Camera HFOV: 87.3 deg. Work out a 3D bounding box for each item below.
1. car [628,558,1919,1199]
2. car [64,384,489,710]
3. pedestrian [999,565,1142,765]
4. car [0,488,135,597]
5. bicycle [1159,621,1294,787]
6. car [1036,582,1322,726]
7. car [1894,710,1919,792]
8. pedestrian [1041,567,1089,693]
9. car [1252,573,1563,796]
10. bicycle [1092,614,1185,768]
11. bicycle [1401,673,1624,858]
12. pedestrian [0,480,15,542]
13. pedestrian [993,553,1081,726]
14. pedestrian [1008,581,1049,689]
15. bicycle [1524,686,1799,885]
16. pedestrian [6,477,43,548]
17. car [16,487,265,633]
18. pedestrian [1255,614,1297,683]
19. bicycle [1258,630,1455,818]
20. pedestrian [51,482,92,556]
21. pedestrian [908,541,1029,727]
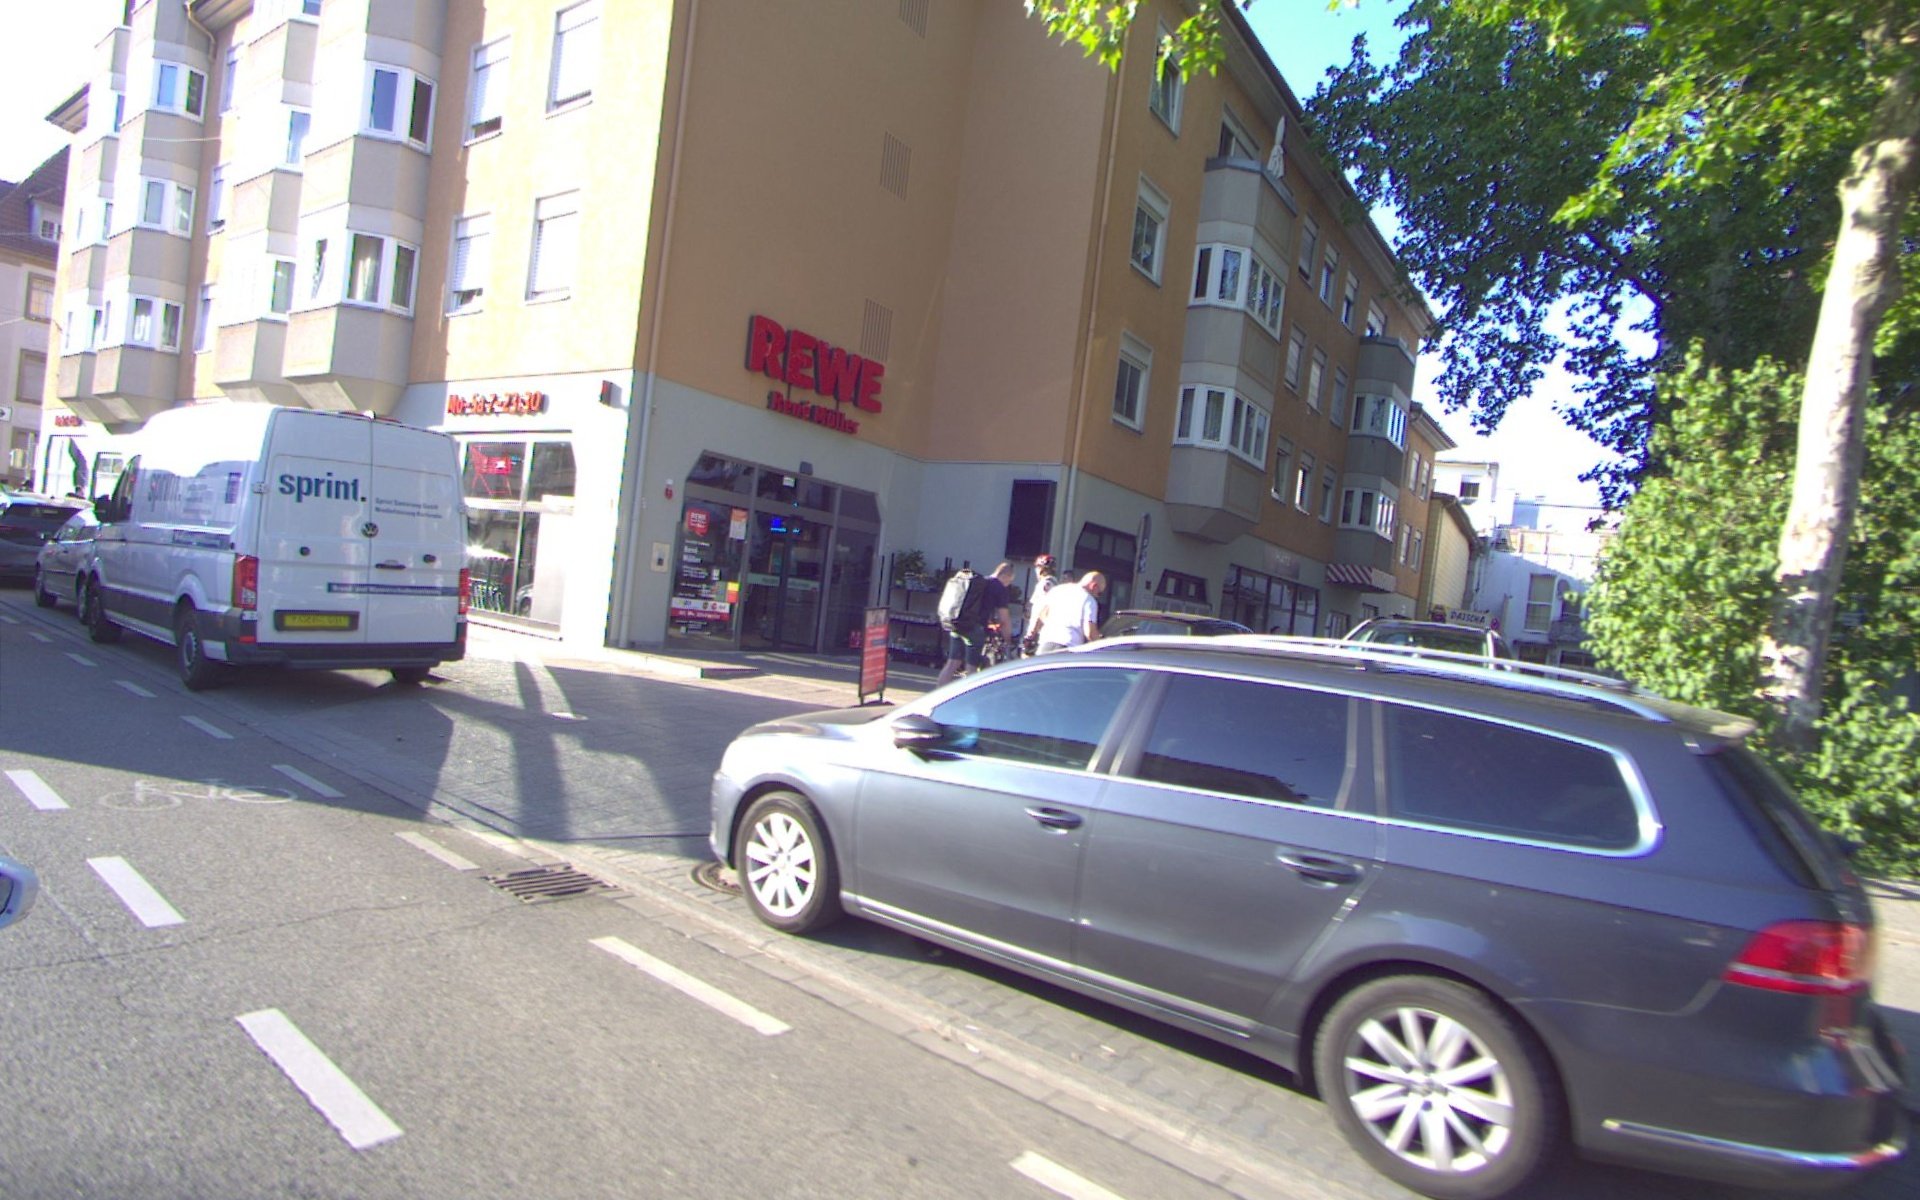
[{"bbox_3d":[0.757,0.797,4.263,4.580,1.551,1.695,6,3,36],"label":"car"},{"bbox_3d":[-7.366,-0.635,10.516,5.698,2.586,2.013,6,4,38],"label":"car"},{"bbox_3d":[1.015,0.563,9.252,0.973,1.659,0.659,8,5,31],"label":"pedestrian"},{"bbox_3d":[-16.053,-1.075,17.409,4.167,1.556,1.837,7,0,38],"label":"car"},{"bbox_3d":[2.298,0.854,8.870,0.639,1.242,1.582,6,0,0],"label":"bicycle"},{"bbox_3d":[2.897,0.697,12.622,1.970,1.449,4.013,3,-2,37],"label":"car"},{"bbox_3d":[20.119,3.103,19.840,1.970,1.553,4.047,7,0,38],"label":"car"},{"bbox_3d":[1.646,0.463,15.867,0.465,1.905,0.575,6,1,-3],"label":"pedestrian"},{"bbox_3d":[5.028,0.983,10.861,1.969,1.727,4.623,7,-3,37],"label":"car"},{"bbox_3d":[1.606,0.780,9.252,0.396,1.242,1.520,6,0,-2],"label":"bicycle"},{"bbox_3d":[3.925,1.133,7.308,0.639,1.026,1.582,6,0,0],"label":"bicycle"},{"bbox_3d":[-28.660,-2.665,29.994,0.543,1.807,0.445,6,1,-35],"label":"pedestrian"},{"bbox_3d":[0.851,0.424,11.102,0.639,1.807,0.527,8,5,30],"label":"pedestrian"},{"bbox_3d":[1.067,0.536,15.559,0.413,1.587,0.639,6,1,8],"label":"pedestrian"},{"bbox_3d":[4.793,1.214,7.038,0.639,1.026,1.679,6,0,0],"label":"bicycle"},{"bbox_3d":[-24.910,-2.337,26.791,0.443,1.807,0.546,7,1,38],"label":"pedestrian"},{"bbox_3d":[-11.444,-0.582,13.977,3.729,1.608,1.837,7,0,38],"label":"car"},{"bbox_3d":[7.548,1.164,24.027,0.587,1.561,0.742,7,1,35],"label":"pedestrian"},{"bbox_3d":[3.099,0.925,8.045,0.636,1.242,1.580,6,0,-9],"label":"bicycle"},{"bbox_3d":[-22.898,-2.086,25.925,0.443,1.805,0.547,6,-1,38],"label":"pedestrian"},{"bbox_3d":[0.087,0.332,10.323,0.757,1.776,0.804,8,5,38],"label":"pedestrian"}]
